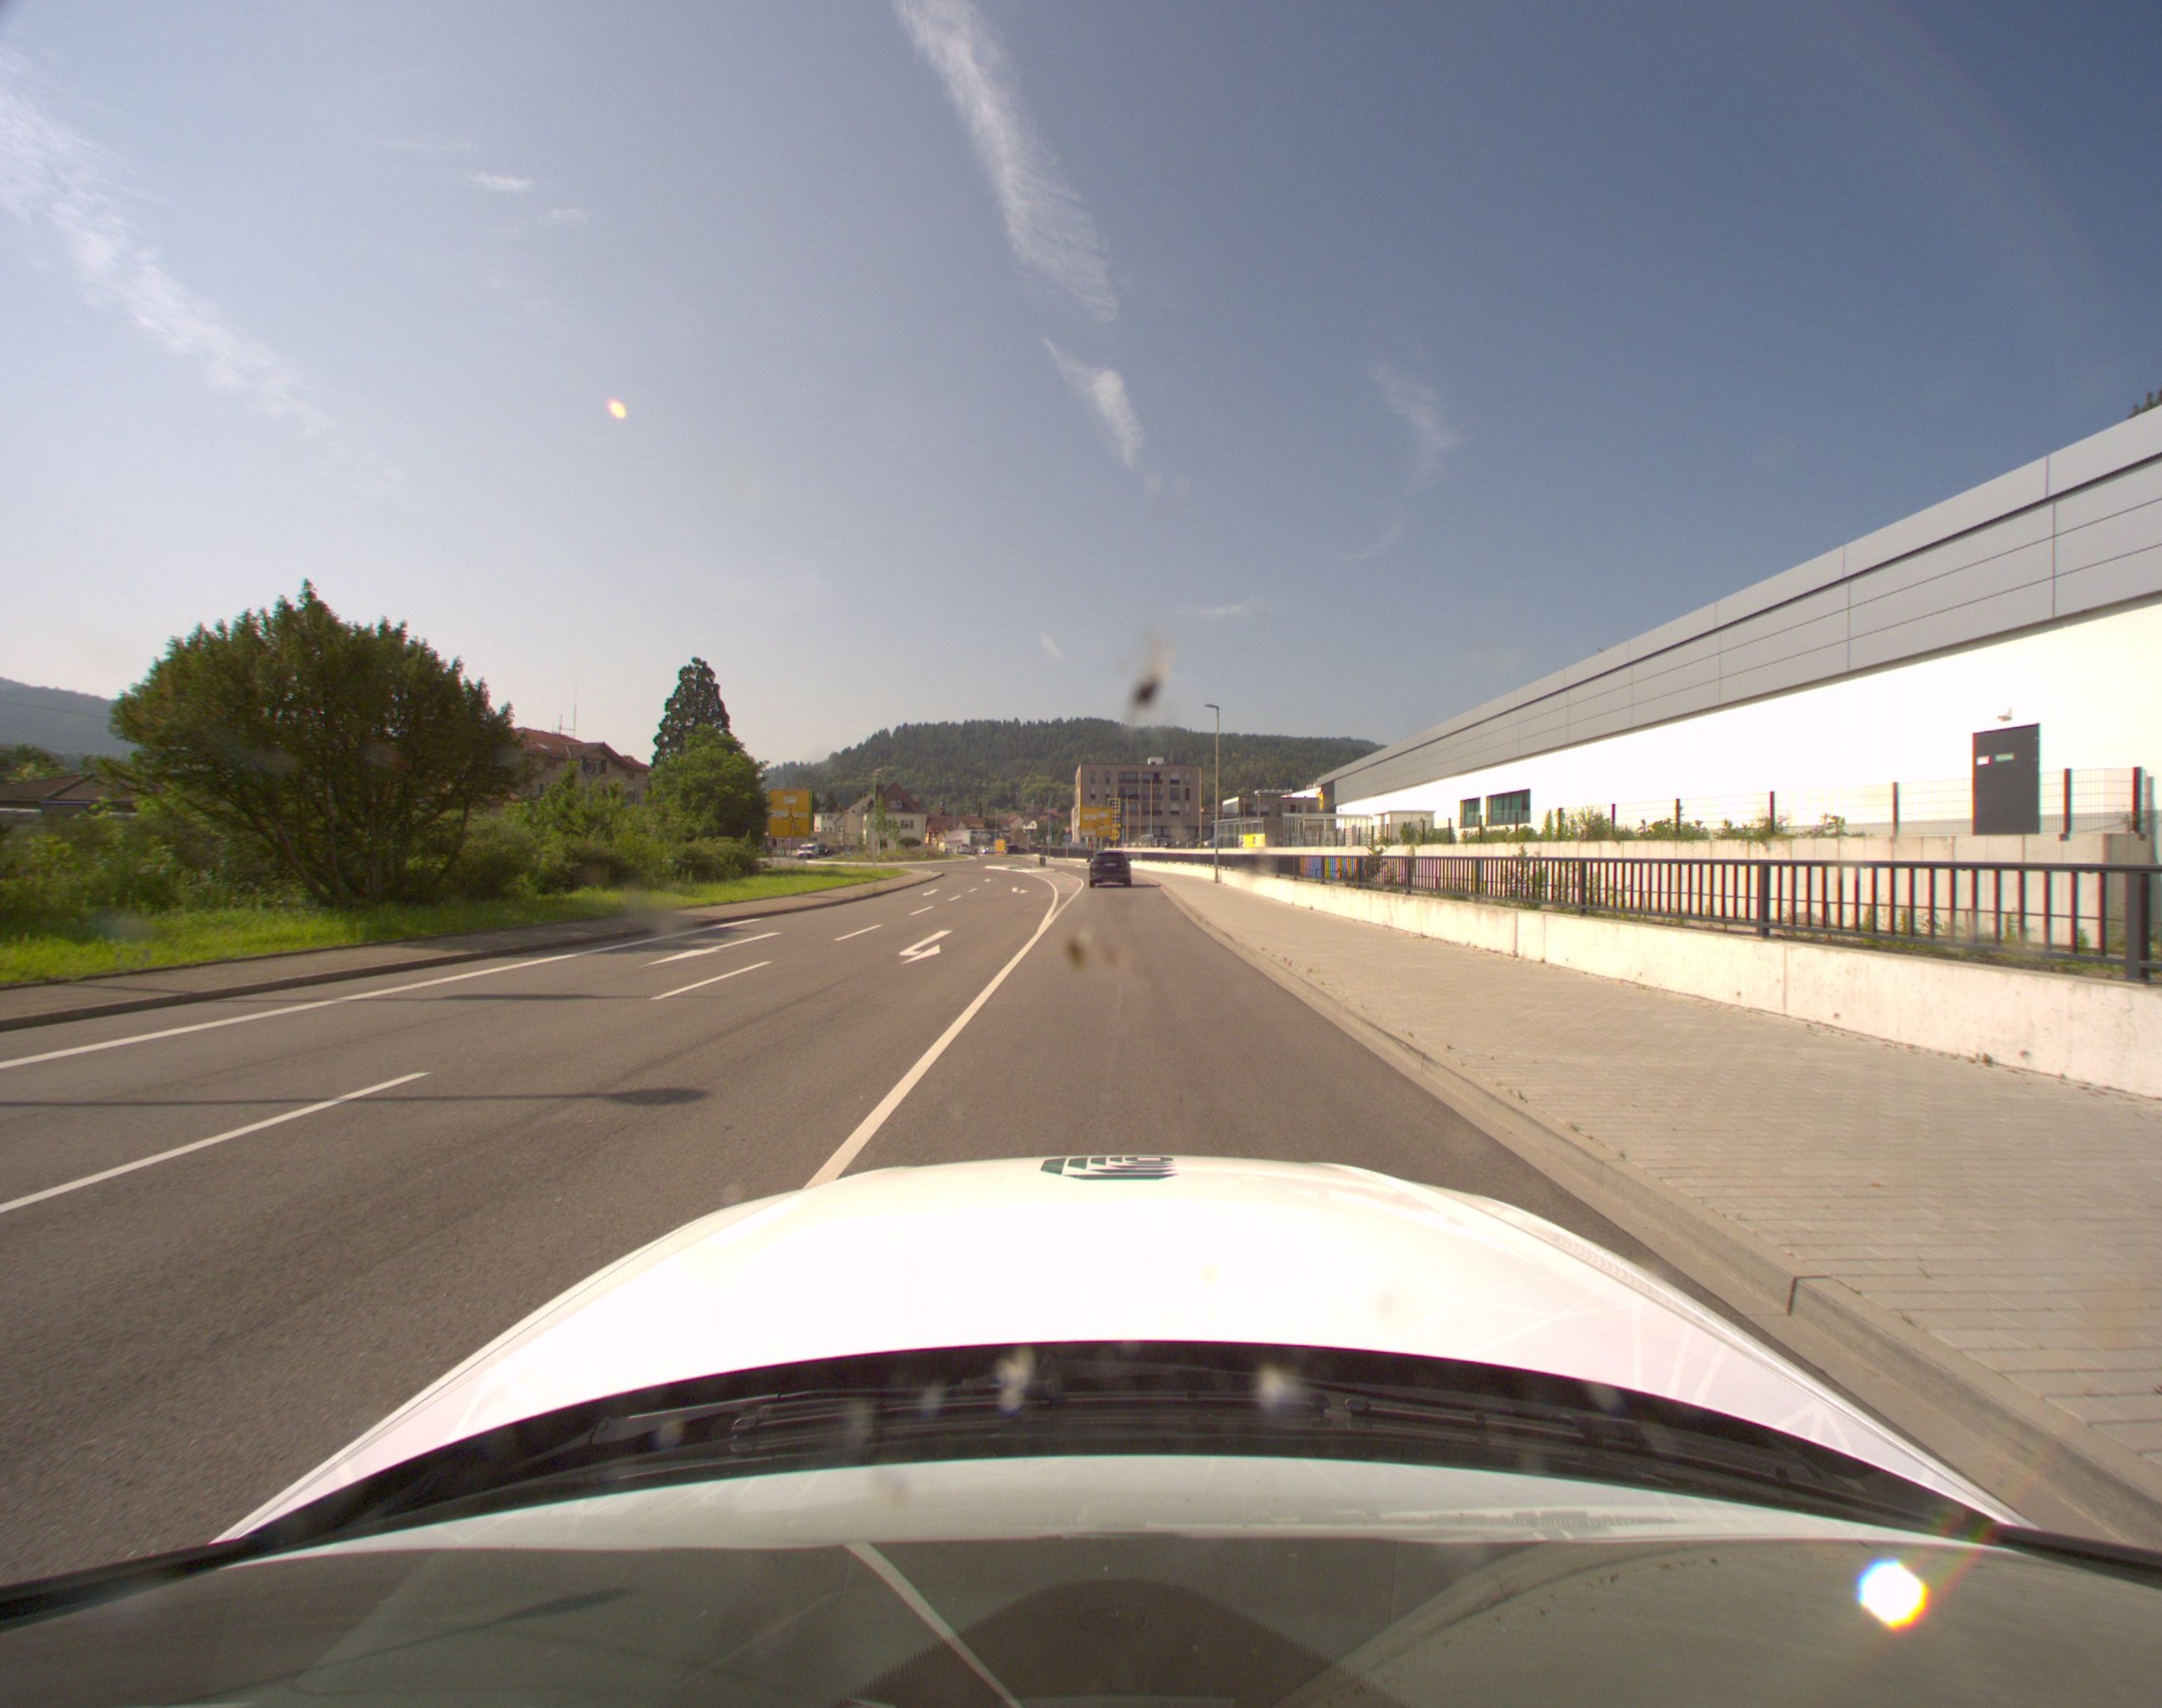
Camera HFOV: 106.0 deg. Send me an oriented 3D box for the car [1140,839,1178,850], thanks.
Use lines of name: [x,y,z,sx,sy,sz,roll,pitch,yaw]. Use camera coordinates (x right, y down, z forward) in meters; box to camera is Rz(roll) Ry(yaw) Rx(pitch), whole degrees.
car: [9.352,-1.096,97.908,4.288,1.245,1.655,0,0,-17]

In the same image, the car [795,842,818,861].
car: [-33.585,-0.297,99.731,1.804,2.077,4.595,1,3,-7]

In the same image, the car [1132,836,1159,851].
car: [9.440,-1.542,119.139,3.968,2.136,2.003,0,0,4]

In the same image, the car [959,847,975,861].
car: [-16.610,0.071,118.969,1.990,2.014,3.994,0,0,-4]

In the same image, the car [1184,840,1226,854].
car: [12.998,-0.722,85.471,4.071,1.404,1.477,0,0,-17]

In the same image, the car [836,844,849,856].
car: [-39.401,-0.651,134.564,1.815,2.013,3.975,0,1,-19]

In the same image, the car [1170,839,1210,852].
car: [11.878,-0.896,89.058,4.014,1.404,1.715,0,0,-17]

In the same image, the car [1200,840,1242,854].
car: [14.193,-0.682,82.443,3.814,1.364,1.671,0,0,-17]

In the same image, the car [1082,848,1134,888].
car: [1.179,0.614,37.091,1.878,1.684,3.993,0,0,-5]

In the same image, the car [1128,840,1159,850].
car: [7.919,-1.106,103.412,3.563,1.199,1.705,0,0,-17]

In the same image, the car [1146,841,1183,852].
car: [9.741,-0.915,95.315,3.976,1.245,1.720,0,0,-17]

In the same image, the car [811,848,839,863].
car: [-36.320,0.218,115.688,1.830,1.946,4.891,0,0,6]
